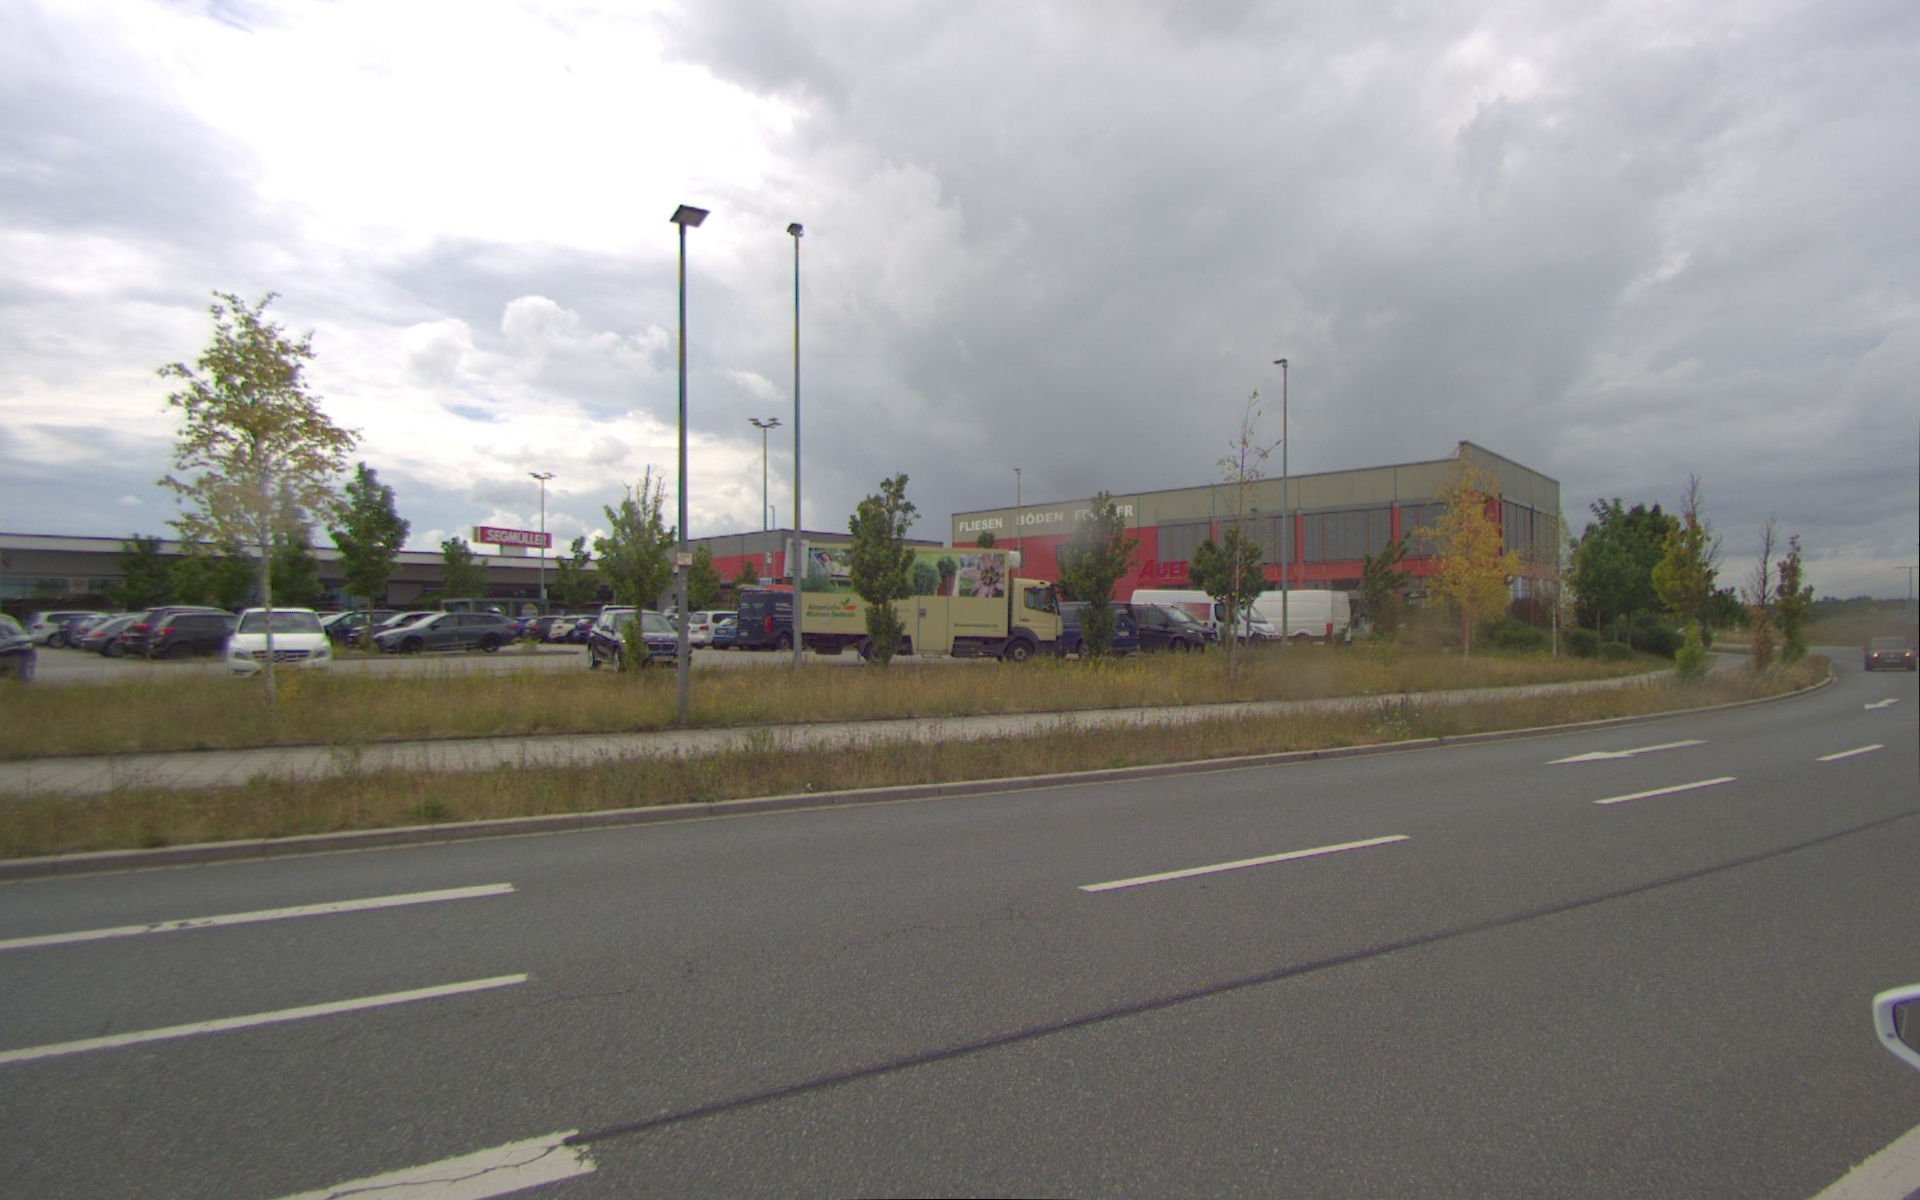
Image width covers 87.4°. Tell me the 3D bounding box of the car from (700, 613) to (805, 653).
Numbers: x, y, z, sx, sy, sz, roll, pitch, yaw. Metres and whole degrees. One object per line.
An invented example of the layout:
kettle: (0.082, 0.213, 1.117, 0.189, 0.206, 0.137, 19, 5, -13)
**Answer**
car: (-8.699, 1.376, 42.352, 1.971, 1.628, 3.979, -1, -2, 41)

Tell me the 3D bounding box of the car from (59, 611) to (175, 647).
car: (-39.662, 1.345, 47.314, 1.971, 1.628, 3.979, -1, -2, 41)

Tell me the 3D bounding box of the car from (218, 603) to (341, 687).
car: (-14.394, 0.908, 21.268, 1.969, 1.580, 4.220, 1, -2, -35)

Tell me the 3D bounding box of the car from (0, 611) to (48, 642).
car: (-51.366, 1.448, 54.668, 3.939, 1.628, 1.991, -1, -2, 39)

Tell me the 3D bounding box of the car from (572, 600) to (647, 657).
car: (-11.893, 0.968, 34.296, 1.944, 1.795, 3.991, 0, -2, -12)

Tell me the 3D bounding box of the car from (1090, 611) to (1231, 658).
car: (7.376, 1.253, 37.261, 4.848, 1.638, 1.984, -1, -2, 43)

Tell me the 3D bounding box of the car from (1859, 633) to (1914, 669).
car: (45.822, 2.512, 49.724, 1.779, 1.691, 4.305, -4, -4, 41)

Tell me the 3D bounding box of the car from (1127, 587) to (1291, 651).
car: (9.654, 0.754, 39.349, 6.006, 2.337, 2.197, -1, -2, 45)

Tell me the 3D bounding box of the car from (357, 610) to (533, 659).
car: (-18.226, 1.213, 35.794, 1.971, 1.628, 5.246, -1, -2, 41)

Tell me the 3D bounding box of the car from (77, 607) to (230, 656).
car: (-28.685, 1.112, 35.821, 1.971, 1.628, 3.980, -1, -2, 41)

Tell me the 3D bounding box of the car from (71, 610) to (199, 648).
car: (-37.667, 1.316, 45.944, 1.971, 1.628, 4.272, -1, -2, 41)

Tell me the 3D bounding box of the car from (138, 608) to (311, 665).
car: (-22.518, 1.096, 30.857, 1.971, 1.628, 3.979, -1, -2, 41)

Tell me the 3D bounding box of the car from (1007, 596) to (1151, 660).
car: (3.972, 0.962, 34.309, 2.159, 2.016, 4.866, 1, -2, -37)

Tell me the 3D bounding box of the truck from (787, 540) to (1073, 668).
truck: (-0.964, 0.185, 30.330, 8.274, 3.588, 2.855, 1, -1, -8)

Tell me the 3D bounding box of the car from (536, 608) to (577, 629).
car: (-32.864, 1.516, 81.801, 1.984, 1.628, 3.954, 2, -2, -40)

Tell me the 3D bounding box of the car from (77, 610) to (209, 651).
car: (-33.790, 1.250, 41.601, 1.971, 1.628, 3.979, -1, -2, 41)

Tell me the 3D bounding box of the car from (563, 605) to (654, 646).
car: (-17.958, 1.292, 51.439, 1.971, 2.040, 3.980, 0, -1, 41)

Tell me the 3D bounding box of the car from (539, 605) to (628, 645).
car: (-19.935, 1.333, 53.264, 1.971, 2.040, 3.980, 0, -1, 41)

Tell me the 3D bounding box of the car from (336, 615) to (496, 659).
car: (-21.518, 1.438, 39.913, 1.971, 1.628, 5.246, -1, -2, 41)

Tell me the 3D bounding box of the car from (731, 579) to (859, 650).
car: (-6.621, 0.617, 40.804, 2.033, 2.726, 5.125, -1, -2, 38)

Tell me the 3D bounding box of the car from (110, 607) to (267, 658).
car: (-26.370, 1.100, 34.436, 1.971, 1.628, 3.979, -1, -2, 41)

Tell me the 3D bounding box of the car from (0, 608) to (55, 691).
car: (-18.861, 0.911, 18.537, 2.018, 1.533, 4.229, 1, -1, -25)

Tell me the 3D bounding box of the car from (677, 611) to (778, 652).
car: (-10.253, 1.379, 44.392, 1.971, 1.752, 3.979, -1, -2, 41)

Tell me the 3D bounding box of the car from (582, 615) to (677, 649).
car: (-16.145, 1.548, 49.162, 1.971, 1.561, 3.979, -1, -2, 41)

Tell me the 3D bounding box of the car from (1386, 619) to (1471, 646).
car: (28.035, 1.932, 60.288, 4.298, 1.572, 2.001, 0, -1, 13)

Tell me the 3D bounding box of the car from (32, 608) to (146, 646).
car: (-42.160, 1.321, 48.683, 1.971, 1.755, 3.979, -1, -2, 41)

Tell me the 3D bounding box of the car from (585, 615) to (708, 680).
car: (-7.876, 1.131, 24.974, 1.975, 1.454, 4.210, 1, -2, -32)

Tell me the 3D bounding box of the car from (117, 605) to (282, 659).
car: (-24.477, 1.019, 32.430, 1.827, 1.628, 3.979, -1, -2, 41)

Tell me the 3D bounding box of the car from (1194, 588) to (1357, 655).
car: (13.305, 0.917, 42.750, 2.229, 2.632, 6.344, 2, -2, -44)

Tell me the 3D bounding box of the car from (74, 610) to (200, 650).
car: (-35.600, 1.289, 43.511, 1.971, 1.628, 3.979, -1, -2, 41)
